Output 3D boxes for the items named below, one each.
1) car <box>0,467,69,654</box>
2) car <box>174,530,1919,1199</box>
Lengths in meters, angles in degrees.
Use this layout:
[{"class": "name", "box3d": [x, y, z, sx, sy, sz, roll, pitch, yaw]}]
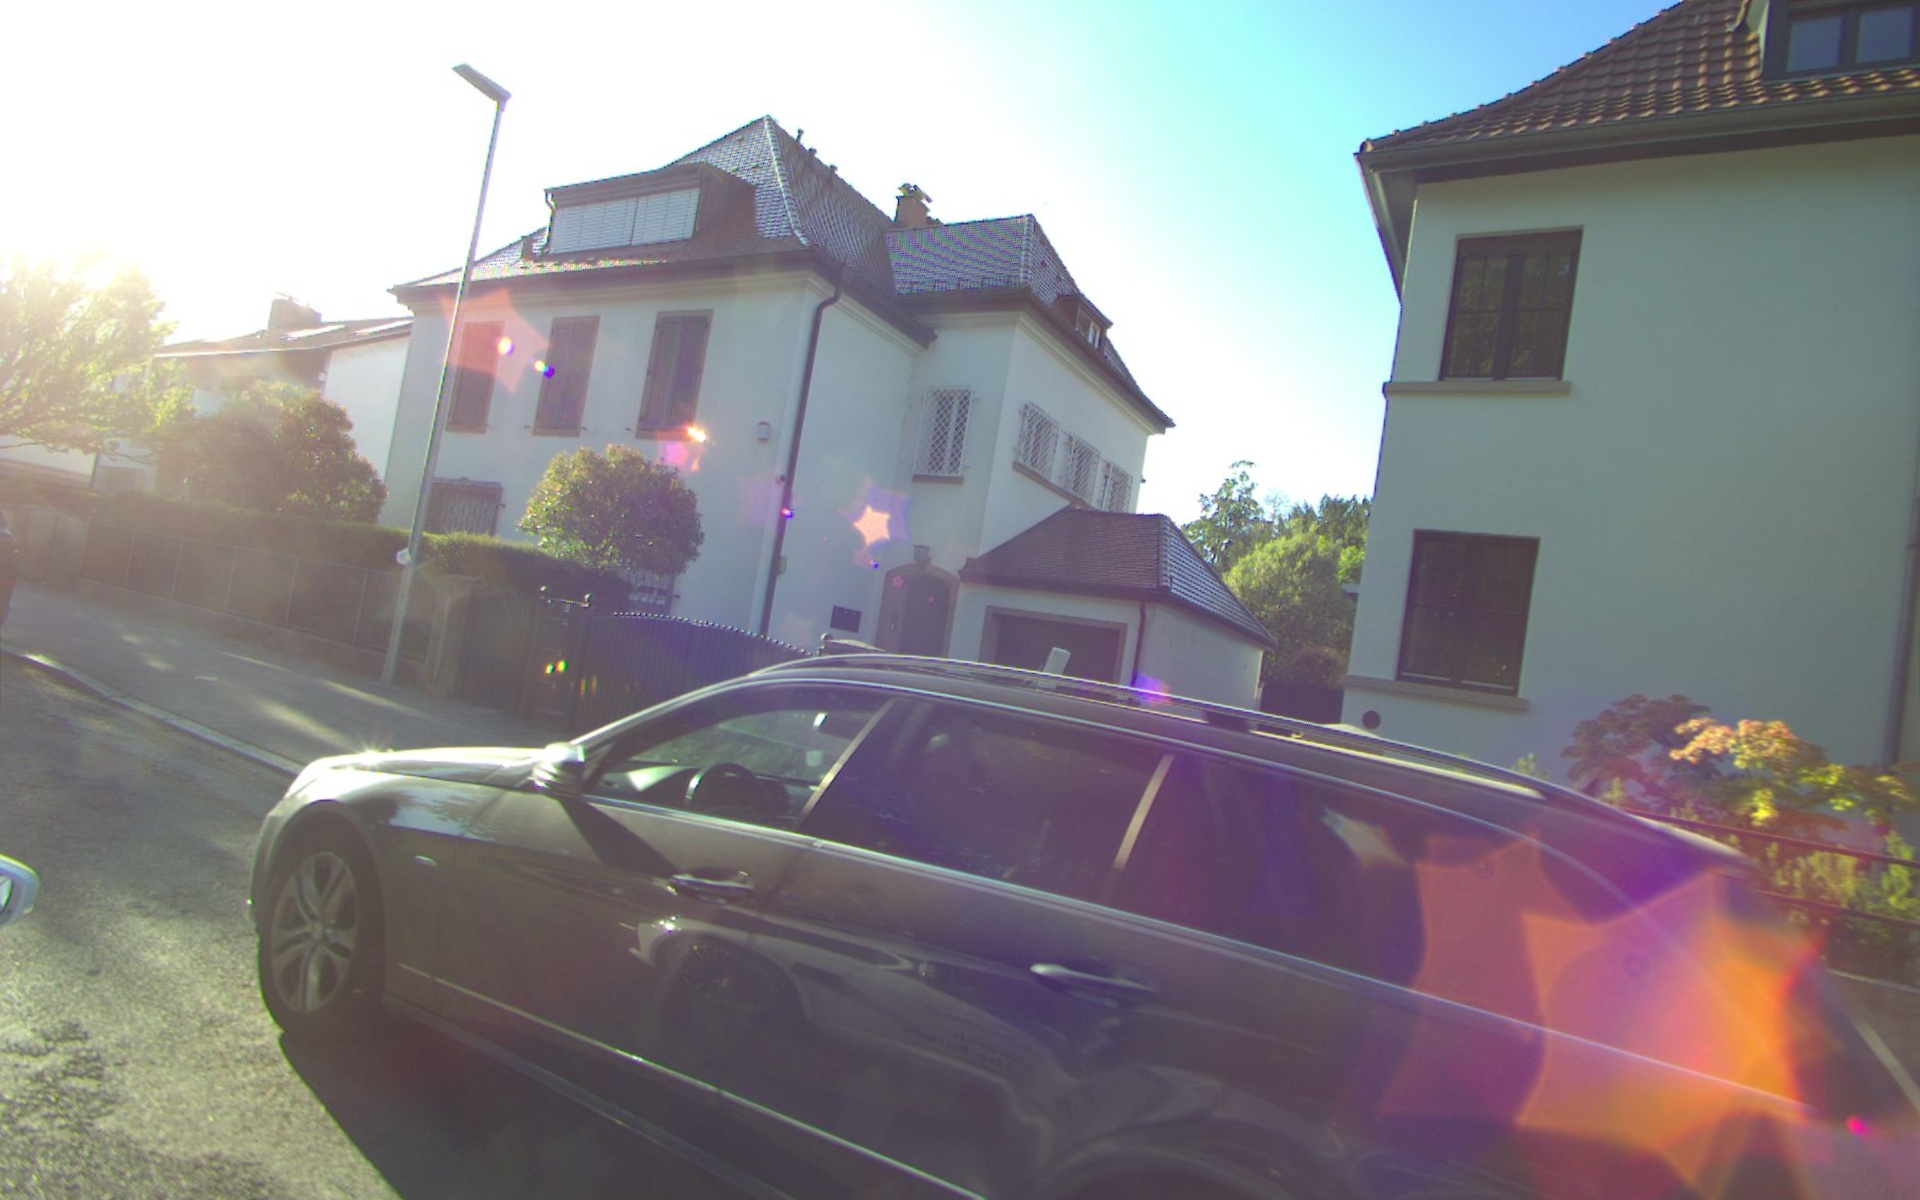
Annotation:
[{"class": "car", "box3d": [-11.695, -0.793, 10.454, 4.781, 1.752, 2.004, 8, -7, 30]}, {"class": "car", "box3d": [-0.228, 0.900, 3.118, 4.517, 1.476, 1.788, 8, -7, 31]}]
